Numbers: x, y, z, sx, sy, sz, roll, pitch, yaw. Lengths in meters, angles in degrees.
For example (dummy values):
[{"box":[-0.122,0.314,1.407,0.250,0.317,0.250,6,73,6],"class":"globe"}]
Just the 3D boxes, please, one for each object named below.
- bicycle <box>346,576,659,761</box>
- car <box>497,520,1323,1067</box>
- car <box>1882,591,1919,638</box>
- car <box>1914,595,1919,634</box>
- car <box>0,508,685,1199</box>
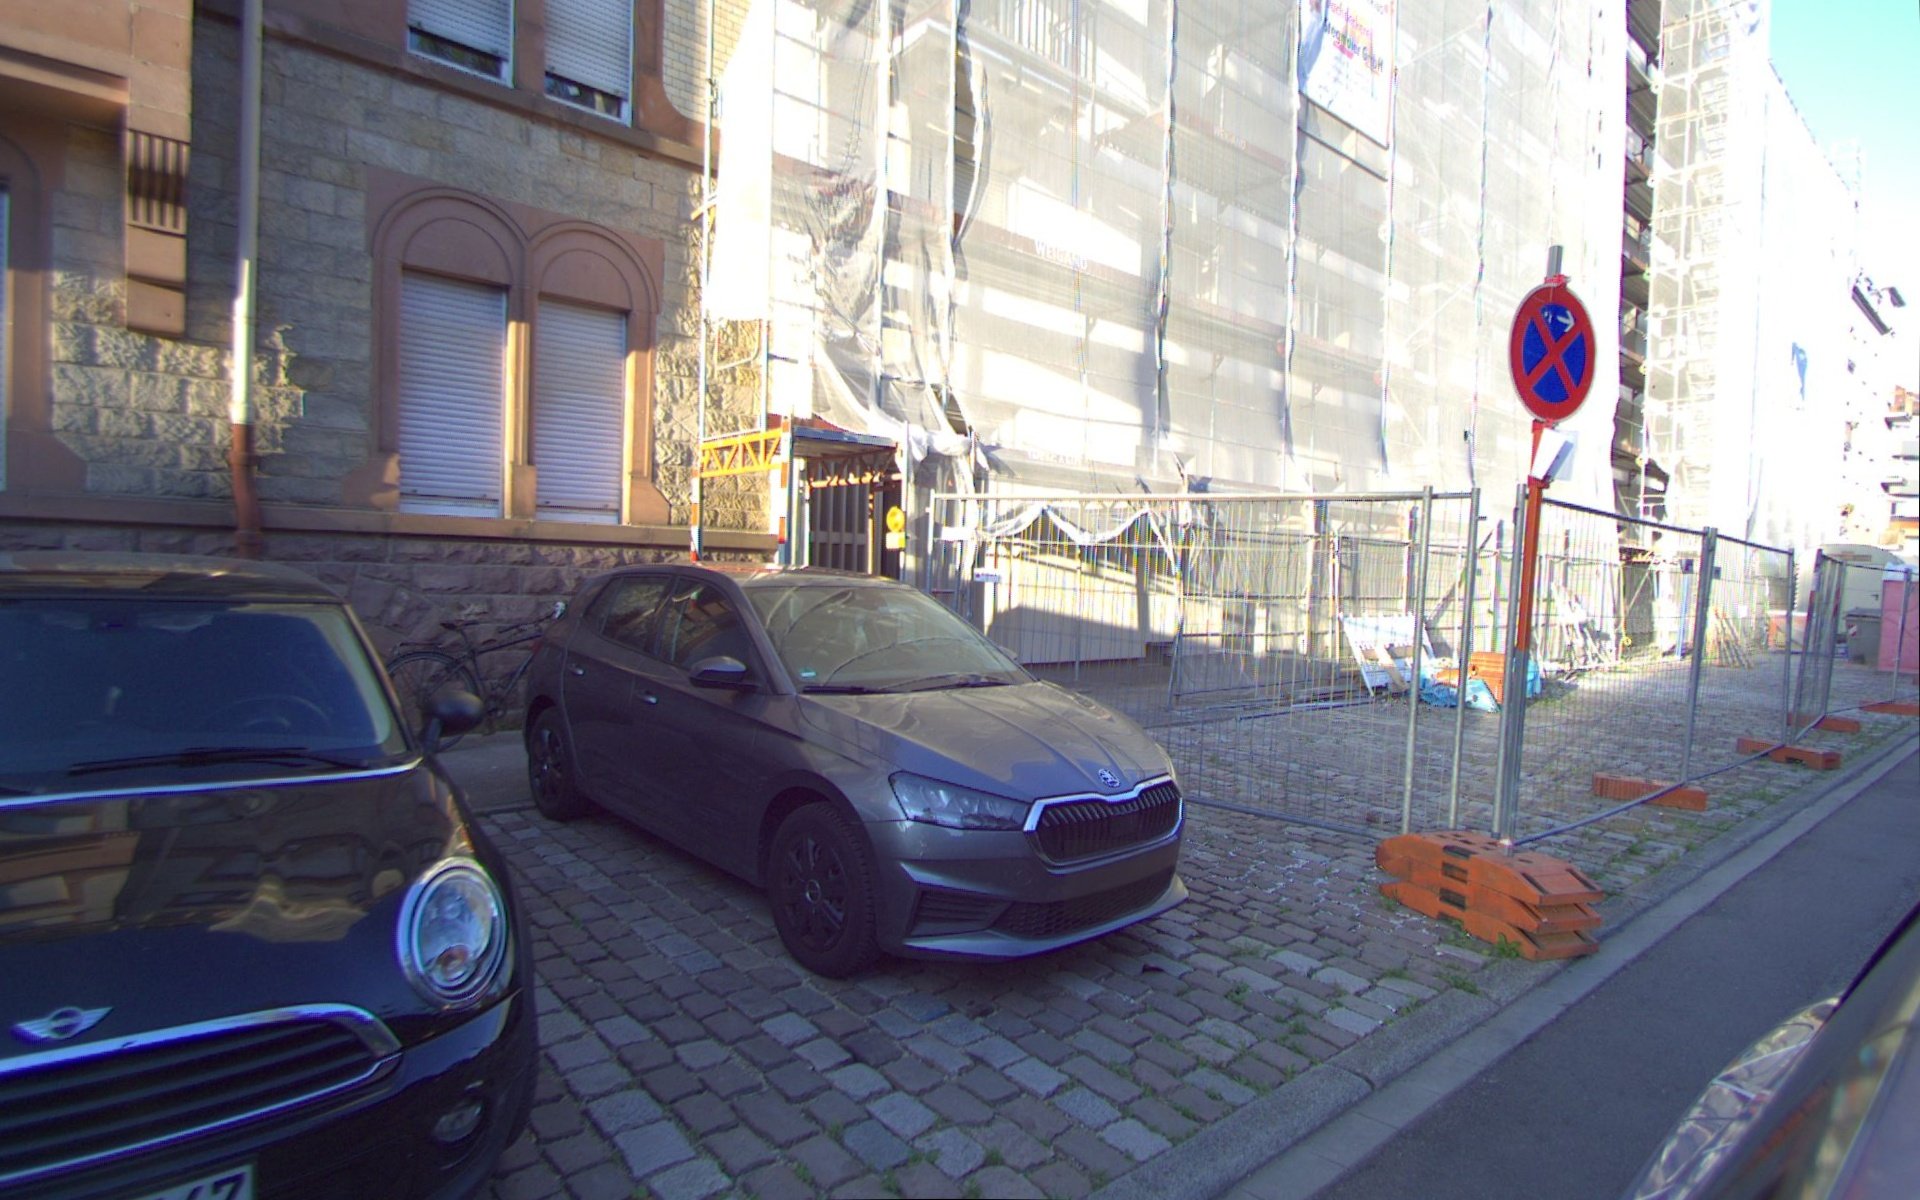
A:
[{"box":[-3.276,0.434,7.423,0.630,1.183,2.003,1,1,43],"class":"bicycle"},{"box":[-0.562,0.466,5.117,1.986,1.534,3.992,0,4,-44],"class":"car"},{"box":[35.936,0.582,36.147,1.838,1.635,4.164,1,2,-39],"class":"car"},{"box":[43.180,0.699,42.786,1.871,1.658,3.992,0,2,-43],"class":"car"},{"box":[-2.477,0.503,3.047,1.755,1.503,3.947,-1,5,-39],"class":"car"}]
